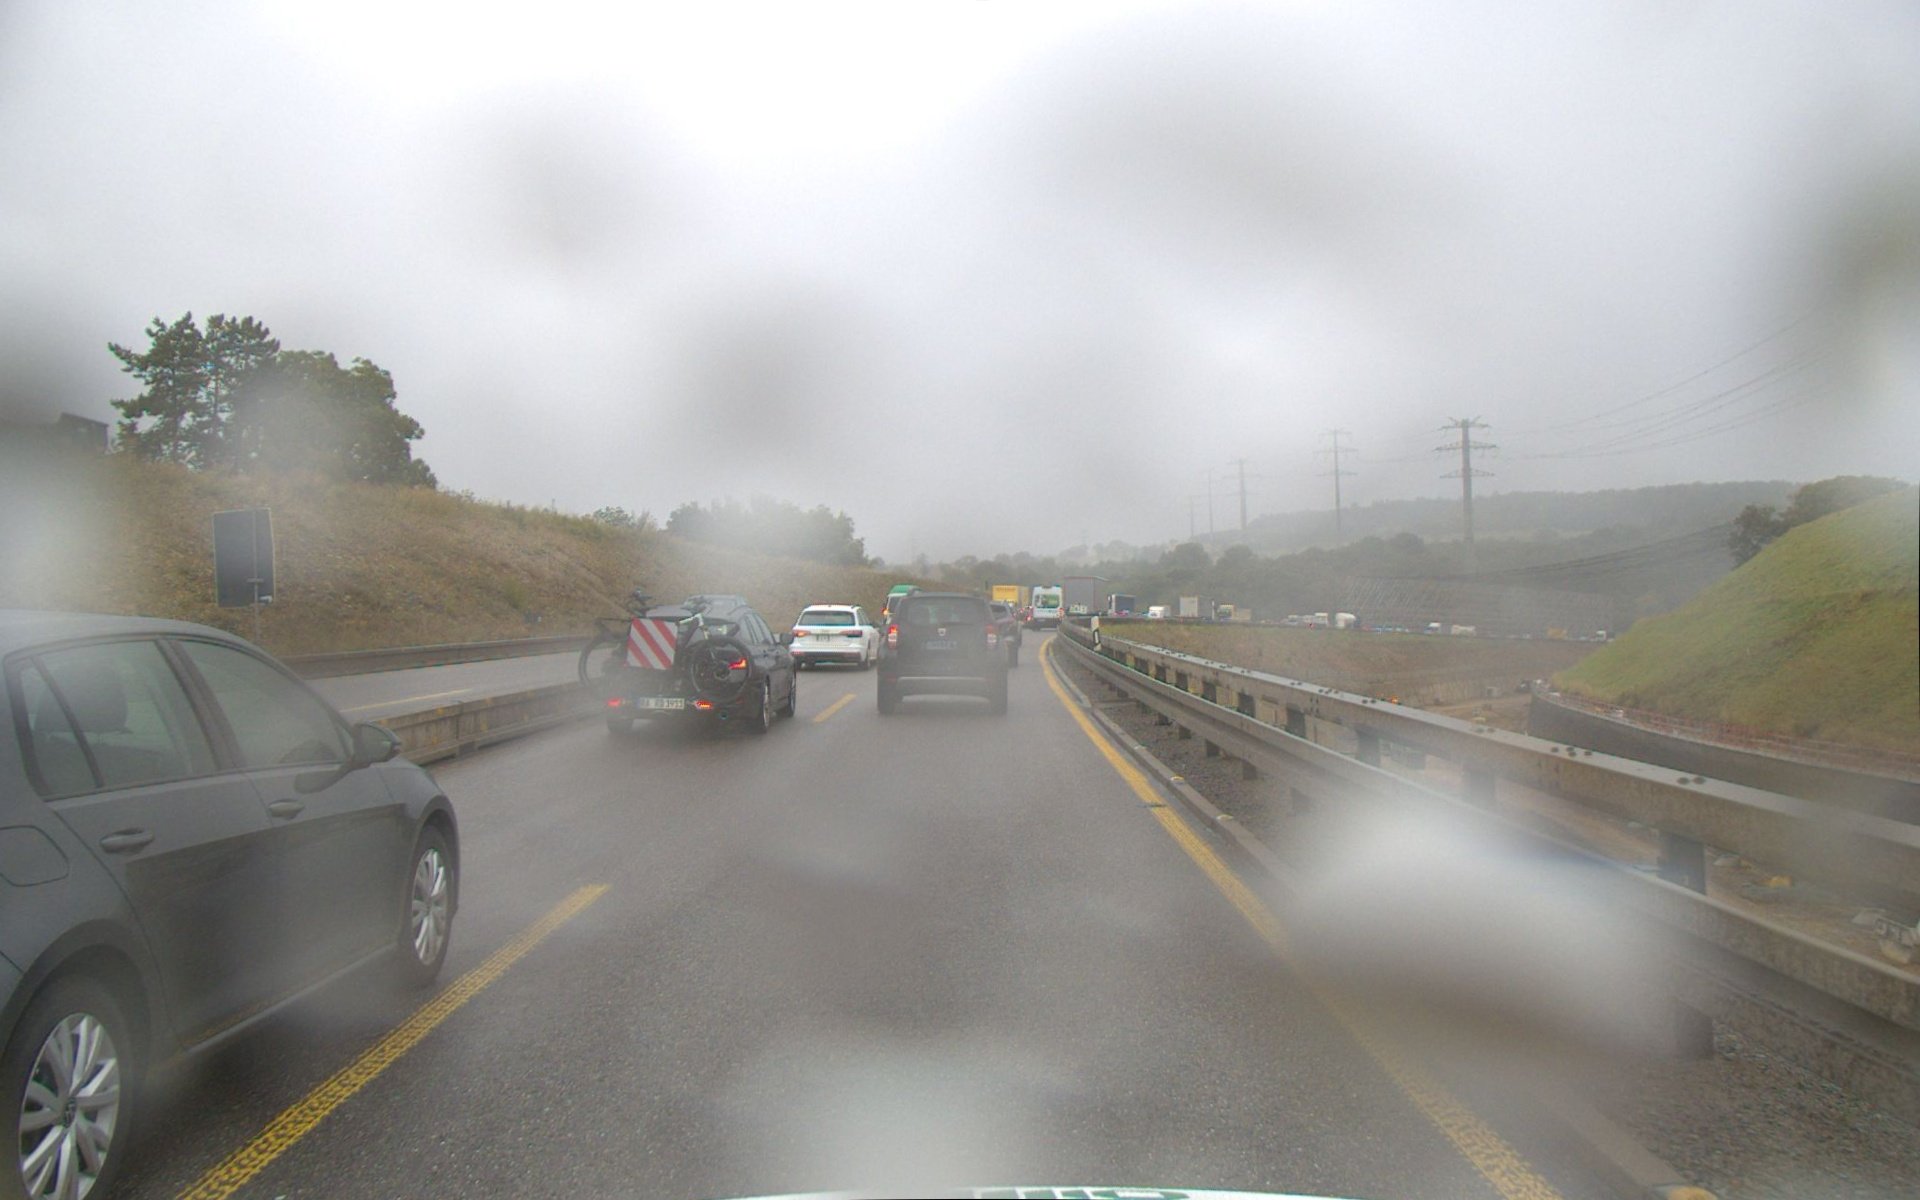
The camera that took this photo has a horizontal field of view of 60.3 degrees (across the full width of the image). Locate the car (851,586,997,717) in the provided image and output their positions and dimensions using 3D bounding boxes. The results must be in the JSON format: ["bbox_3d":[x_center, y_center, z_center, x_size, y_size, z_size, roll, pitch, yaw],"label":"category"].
[{"bbox_3d":[-0.423,0.675,23.163,1.767,1.675,3.777,0,0,3],"label":"car"}]

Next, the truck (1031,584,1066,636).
[{"bbox_3d":[5.710,0.646,107.063,2.104,3.221,6.461,1,0,3],"label":"truck"}]

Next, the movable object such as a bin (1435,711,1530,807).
[{"bbox_3d":[24.691,7.485,78.369,3.147,3.934,4.123,2,1,2],"label":"movable object such as a bin"}]

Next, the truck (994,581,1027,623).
[{"bbox_3d":[5.109,0.188,164.665,2.710,4.066,8.427,1,0,5],"label":"truck"}]

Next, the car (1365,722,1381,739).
[{"bbox_3d":[58.464,18.424,233.984,1.952,2.049,4.002,1,0,18],"label":"car"}]

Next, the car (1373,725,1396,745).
[{"bbox_3d":[47.325,15.044,184.523,1.951,1.848,4.003,1,-1,7],"label":"car"}]

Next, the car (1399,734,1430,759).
[{"bbox_3d":[45.722,14.729,166.485,2.315,2.049,4.002,1,0,5],"label":"car"}]

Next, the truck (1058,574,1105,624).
[{"bbox_3d":[9.923,-0.064,134.465,3.132,3.827,8.516,1,0,8],"label":"truck"}]

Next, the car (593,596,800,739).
[{"bbox_3d":[-2.980,0.727,19.440,1.791,1.502,3.776,0,0,0],"label":"car"}]

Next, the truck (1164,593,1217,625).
[{"bbox_3d":[32.225,1.262,230.596,4.619,4.222,15.688,1,0,18],"label":"truck"}]

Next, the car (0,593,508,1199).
[{"bbox_3d":[-2.727,0.773,4.901,1.581,1.532,4.367,-1,0,0],"label":"car"}]

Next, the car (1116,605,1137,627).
[{"bbox_3d":[15.054,1.423,149.522,1.737,1.949,4.003,1,0,8],"label":"car"}]

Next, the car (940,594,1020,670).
[{"bbox_3d":[0.525,0.752,40.403,1.829,1.738,4.001,1,0,2],"label":"car"}]

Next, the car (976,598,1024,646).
[{"bbox_3d":[1.452,0.791,61.017,1.499,1.669,4.011,1,0,-2],"label":"car"}]

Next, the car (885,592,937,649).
[{"bbox_3d":[-1.718,0.705,58.877,1.626,1.913,4.020,1,0,1],"label":"car"}]

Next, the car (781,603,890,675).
[{"bbox_3d":[-2.754,0.849,37.620,1.828,1.486,4.550,1,0,4],"label":"car"}]
